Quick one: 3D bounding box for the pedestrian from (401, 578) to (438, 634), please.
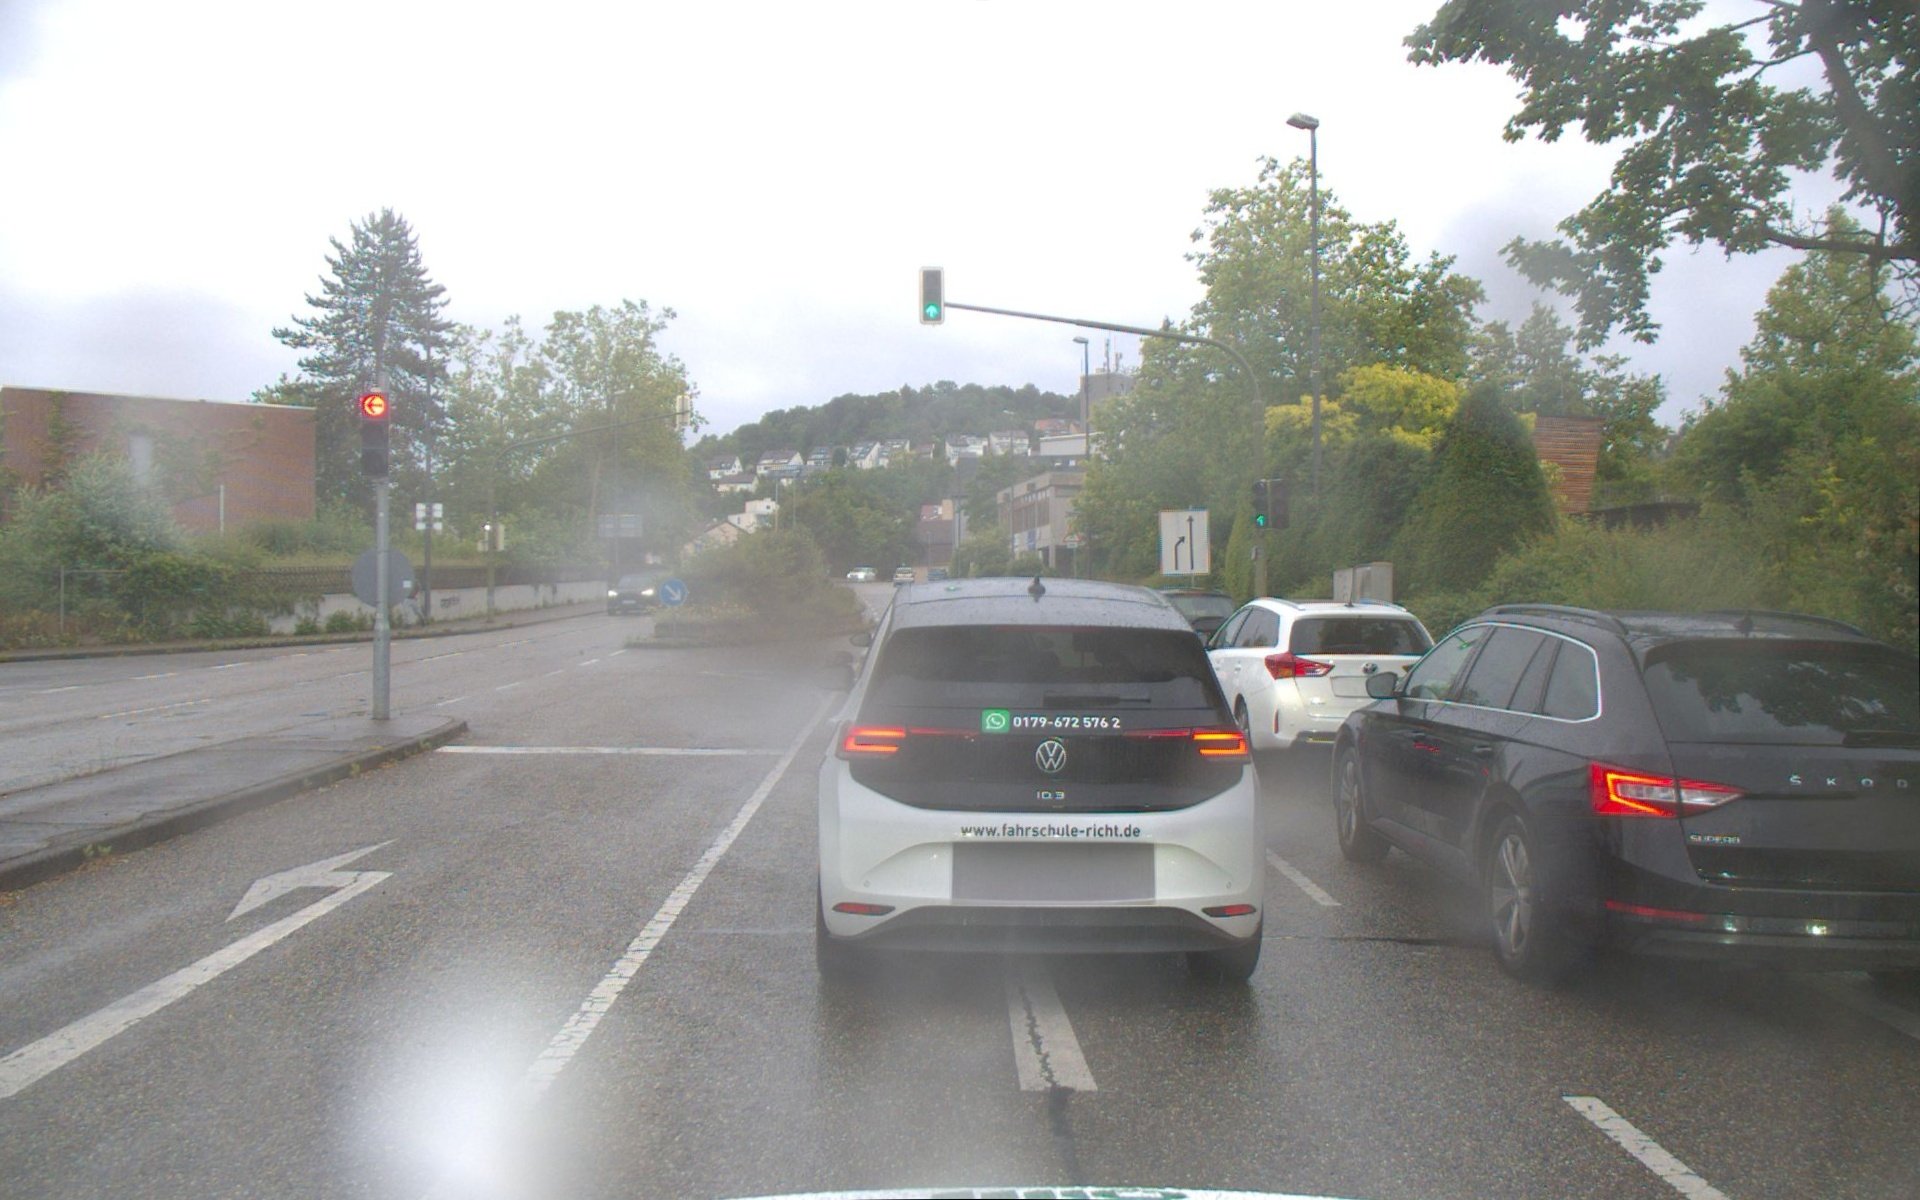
[{"bbox_3d":[-15.742,0.168,48.173,0.744,1.595,0.825,-2,0,-2],"label":"pedestrian"}]

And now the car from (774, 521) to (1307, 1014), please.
[{"bbox_3d":[0.226,0.557,7.997,1.800,1.657,4.614,1,1,-1],"label":"car"}]

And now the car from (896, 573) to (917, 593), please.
[{"bbox_3d":[-4.138,-1.298,127.944,1.549,1.492,3.998,-1,0,-2],"label":"car"}]

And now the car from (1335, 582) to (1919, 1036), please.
[{"bbox_3d":[3.134,0.688,7.708,1.800,1.492,4.350,1,1,1],"label":"car"}]

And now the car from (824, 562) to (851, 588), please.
[{"bbox_3d":[-10.358,-2.076,140.285,1.953,2.049,3.999,1,-1,-1],"label":"car"}]

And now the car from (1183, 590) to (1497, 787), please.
[{"bbox_3d":[3.268,0.687,15.068,1.800,1.492,4.116,1,1,-1],"label":"car"}]

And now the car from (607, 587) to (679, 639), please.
[{"bbox_3d":[-12.008,0.462,62.914,1.953,1.836,3.999,-3,0,-1],"label":"car"}]

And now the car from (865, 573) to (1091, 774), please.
[{"bbox_3d":[0.100,0.574,15.485,1.800,1.582,4.174,1,1,-1],"label":"car"}]

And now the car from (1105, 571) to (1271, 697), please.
[{"bbox_3d":[3.143,0.446,23.524,1.739,1.609,3.999,1,0,-1],"label":"car"}]

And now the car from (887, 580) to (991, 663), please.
[{"bbox_3d":[-0.419,0.365,31.288,1.800,1.424,3.830,1,1,-1],"label":"car"}]

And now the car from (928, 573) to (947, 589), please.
[{"bbox_3d":[-2.204,-1.884,163.855,1.726,1.443,3.747,-1,1,-3],"label":"car"}]
